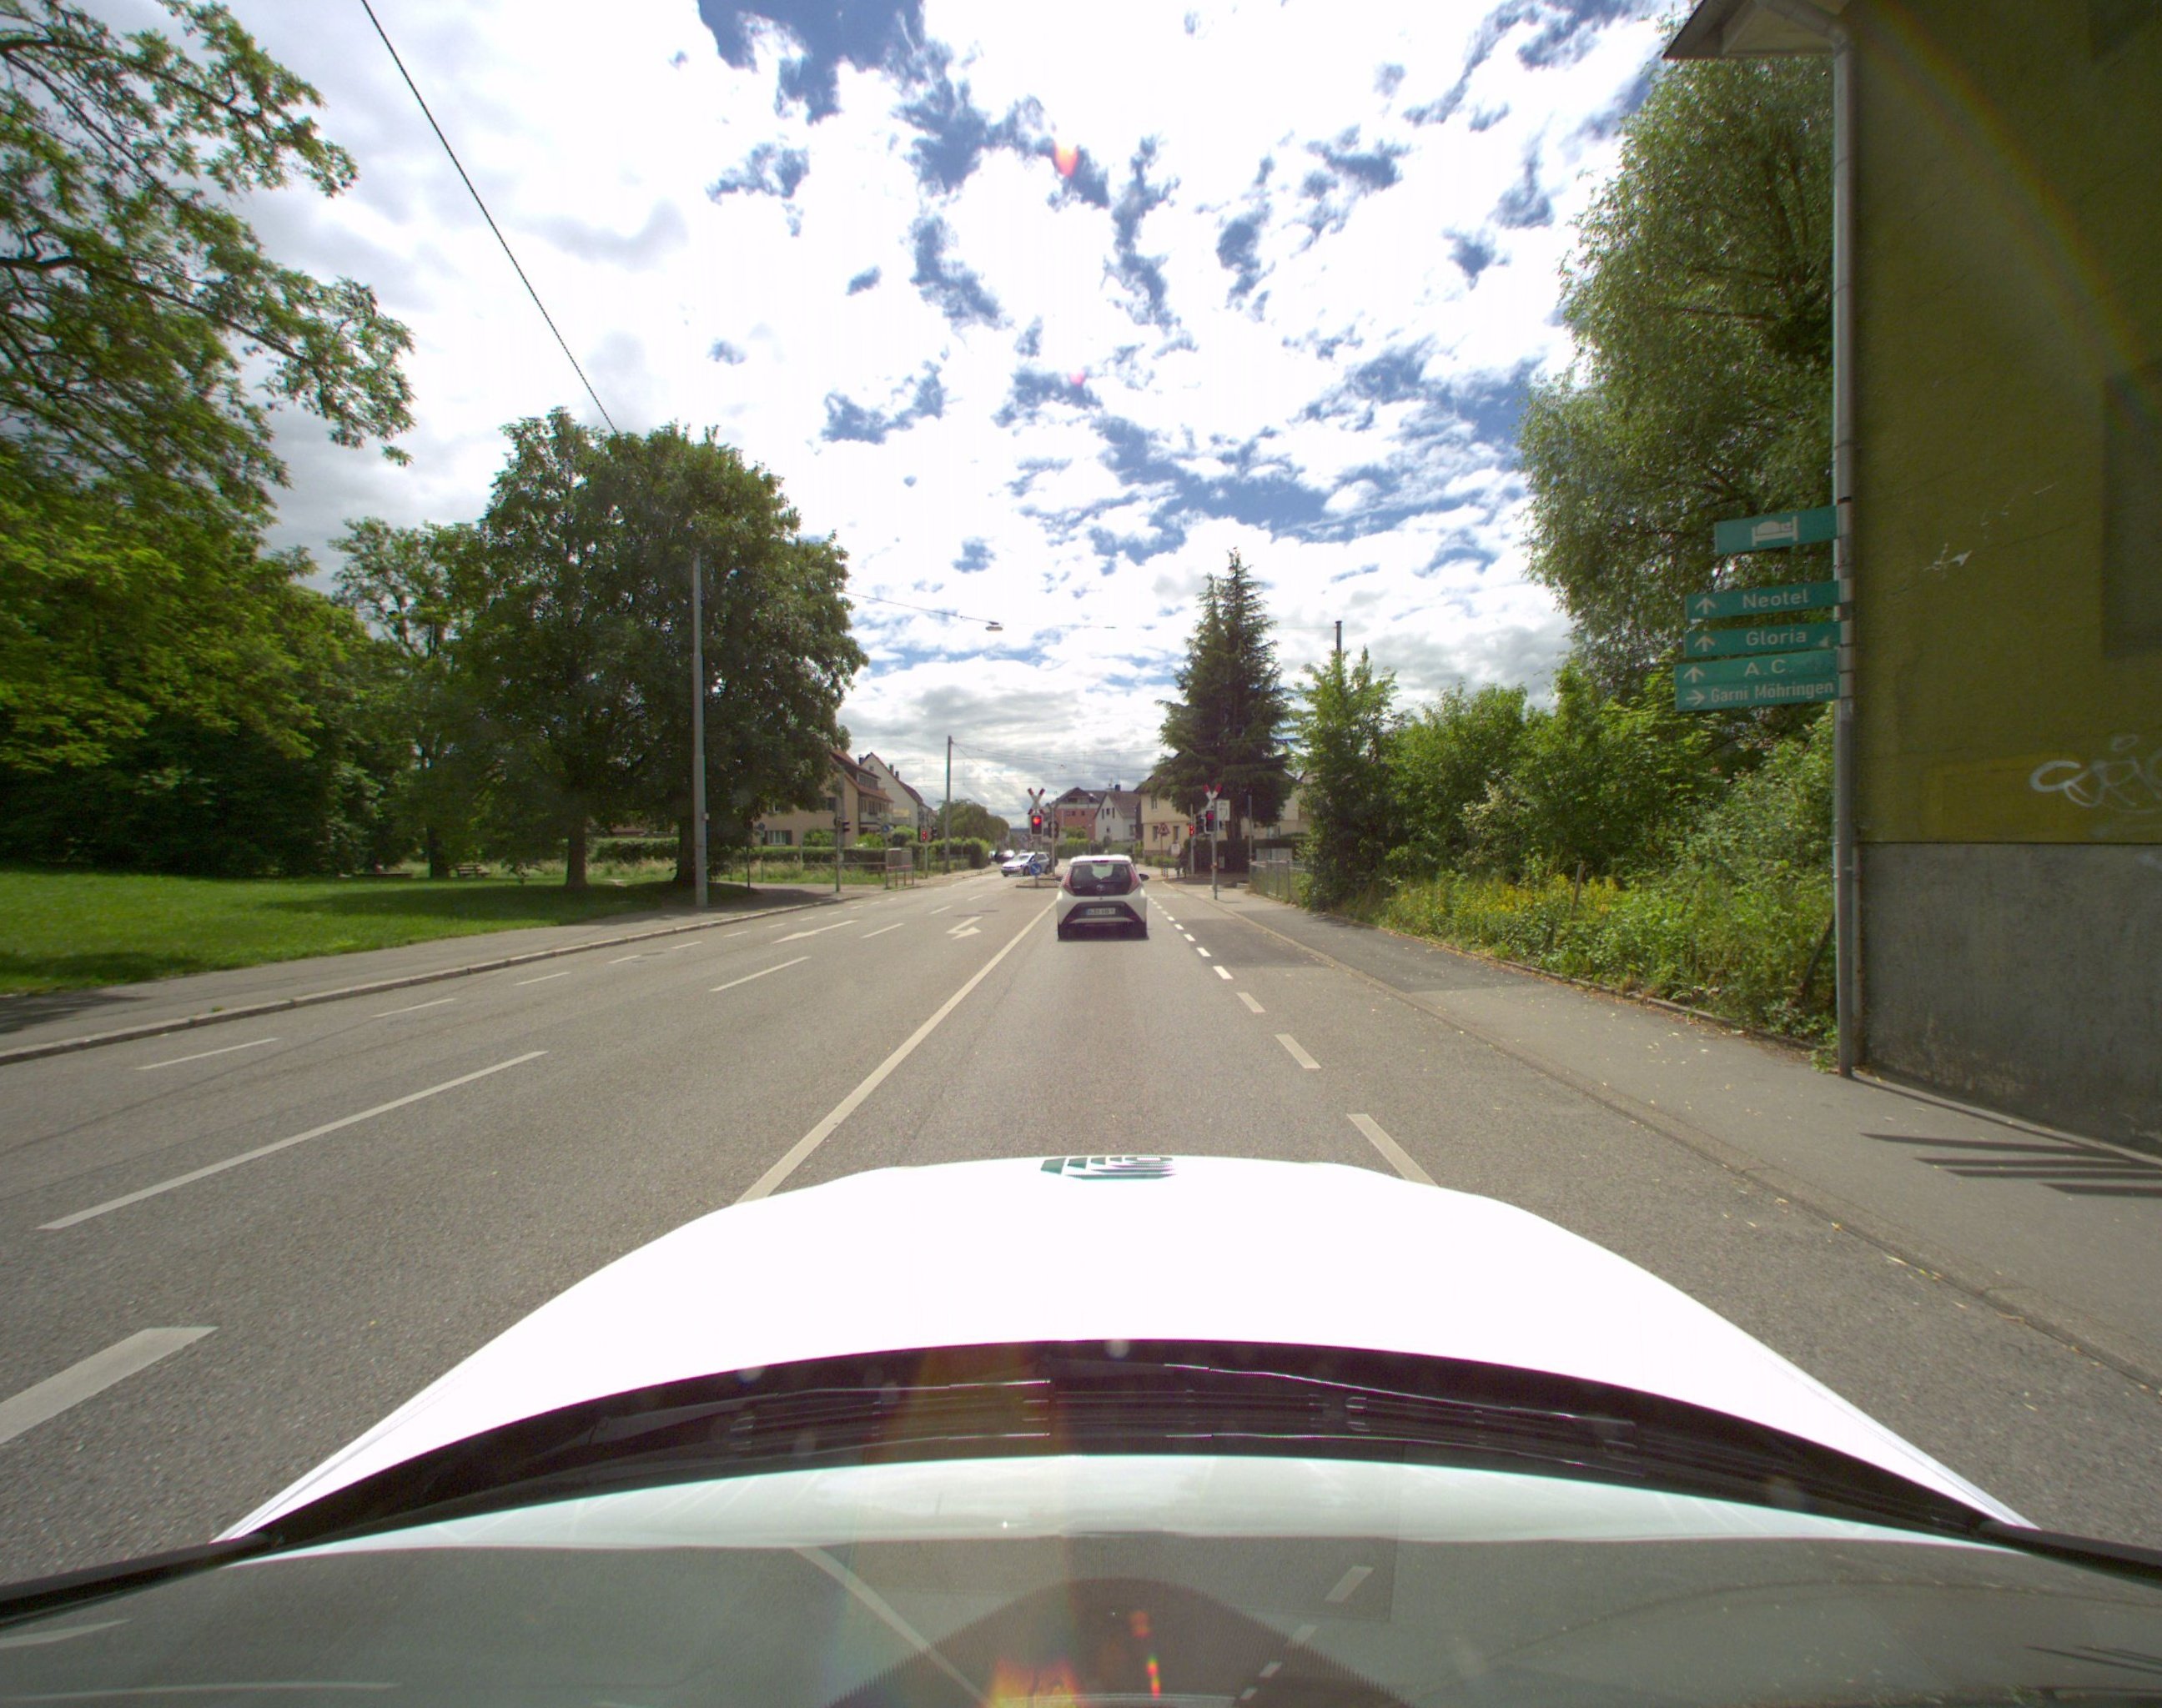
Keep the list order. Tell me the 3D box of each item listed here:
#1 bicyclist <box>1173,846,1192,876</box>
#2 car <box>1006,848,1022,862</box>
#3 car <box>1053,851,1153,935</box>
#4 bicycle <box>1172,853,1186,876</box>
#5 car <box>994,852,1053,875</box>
[{"bbox_3d":[5.601,0.371,44.987,0.839,1.553,0.755,-4,2,-4],"label":"bicyclist"},{"bbox_3d":[-8.577,0.099,104.645,1.990,1.719,3.994,0,0,-4],"label":"car"},{"bbox_3d":[0.334,0.673,15.888,1.716,1.442,3.706,0,0,-2],"label":"car"},{"bbox_3d":[5.407,0.579,45.115,0.456,1.172,1.477,-4,2,-4],"label":"bicycle"},{"bbox_3d":[-3.722,0.617,53.388,1.887,1.441,4.124,0,0,30],"label":"car"}]
